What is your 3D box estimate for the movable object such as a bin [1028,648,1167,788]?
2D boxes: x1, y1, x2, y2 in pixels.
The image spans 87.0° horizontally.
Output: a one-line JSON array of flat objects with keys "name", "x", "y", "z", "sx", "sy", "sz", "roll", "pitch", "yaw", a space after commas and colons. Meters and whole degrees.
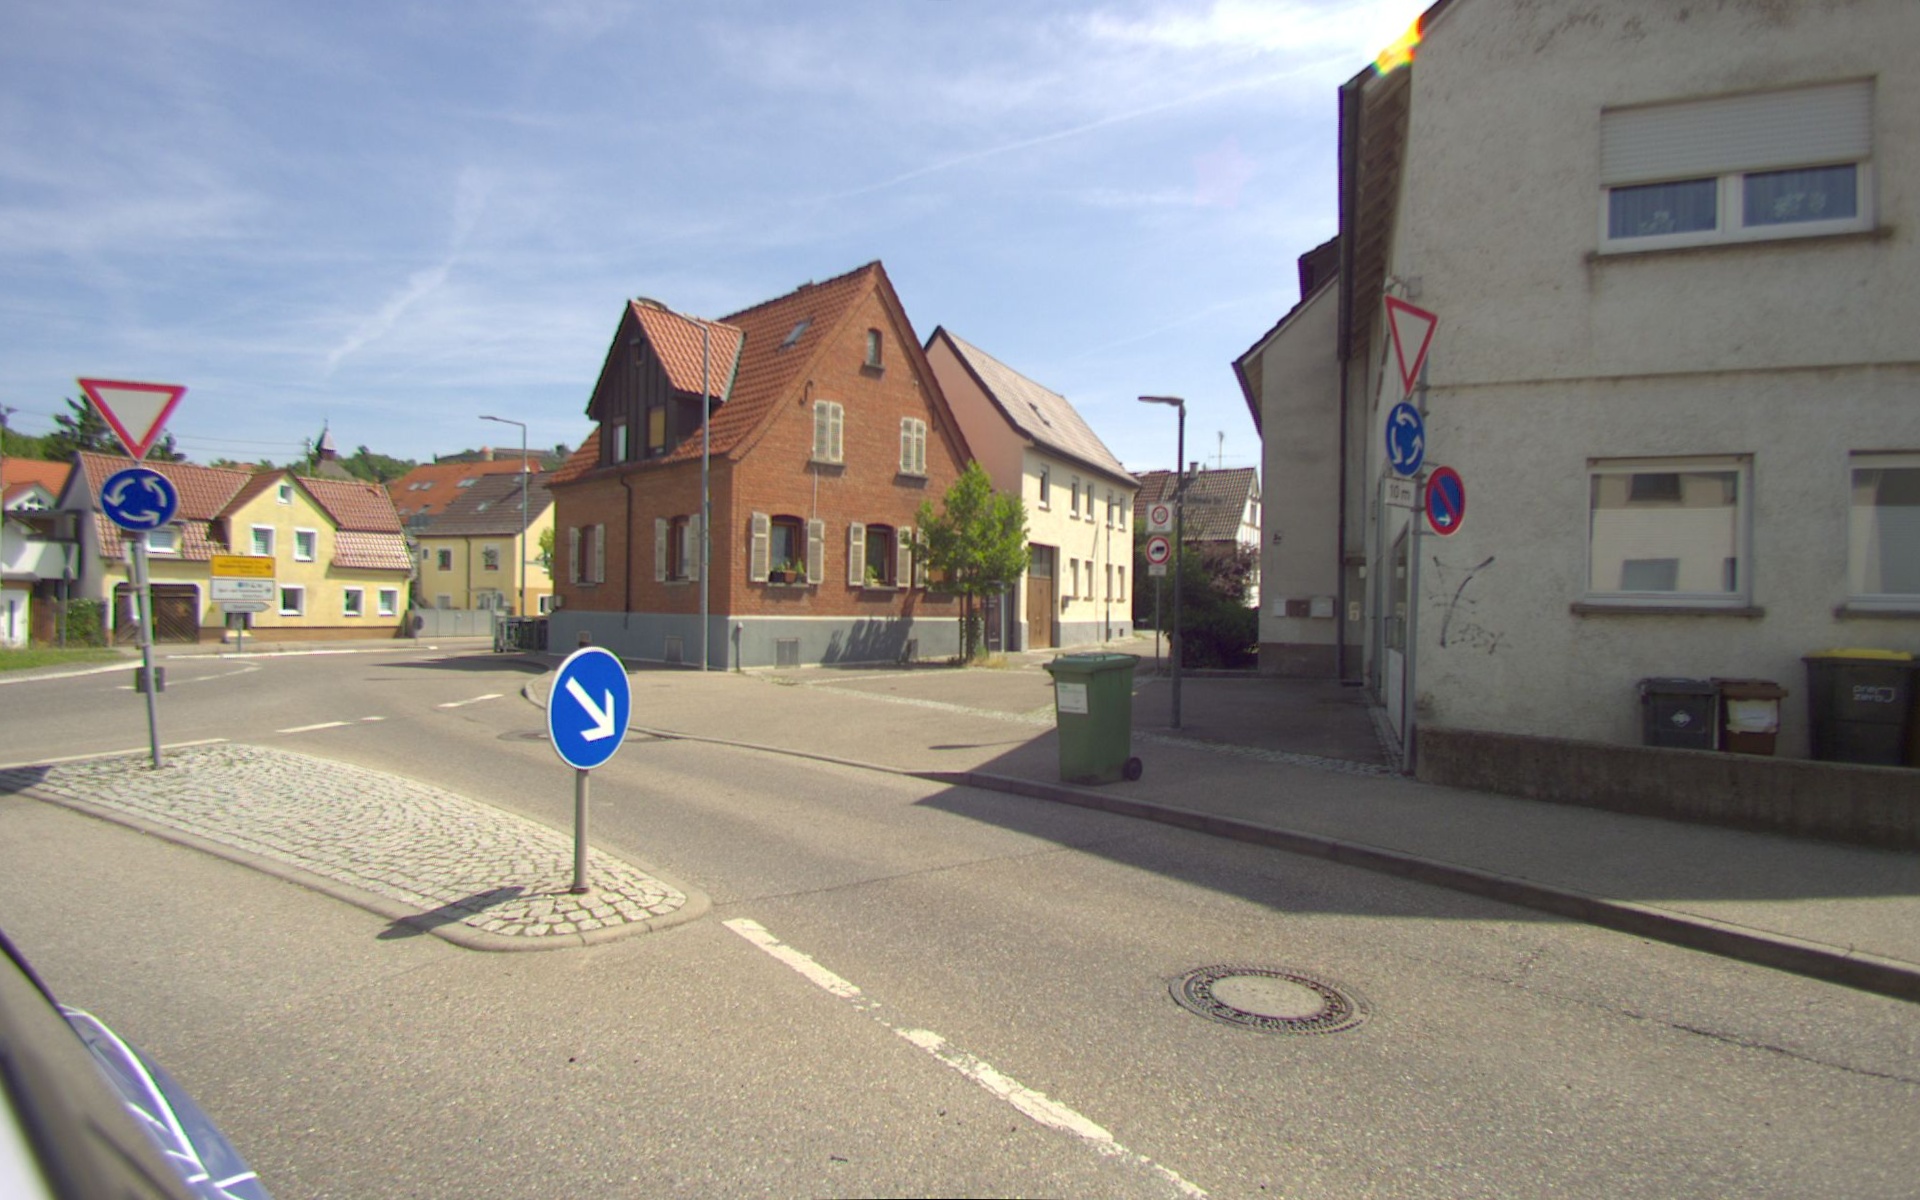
[{"name": "movable object such as a bin", "x": 1.139, "y": 0.944, "z": 8.452, "sx": 0.797, "sy": 1.053, "sz": 0.829, "roll": 0, "pitch": -1, "yaw": -34}]

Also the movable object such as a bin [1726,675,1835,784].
[{"name": "movable object such as a bin", "x": 6.466, "y": 1.008, "z": 7.996, "sx": 0.523, "sy": 0.786, "sz": 0.483, "roll": -1, "pitch": -1, "yaw": 19}]

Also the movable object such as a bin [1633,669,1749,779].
[{"name": "movable object such as a bin", "x": 5.913, "y": 0.986, "z": 8.211, "sx": 0.642, "sy": 0.811, "sz": 0.483, "roll": -1, "pitch": -1, "yaw": 21}]

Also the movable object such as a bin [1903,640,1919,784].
[{"name": "movable object such as a bin", "x": 7.604, "y": 0.851, "z": 7.480, "sx": 0.693, "sy": 1.094, "sz": 0.681, "roll": -1, "pitch": -1, "yaw": 19}]

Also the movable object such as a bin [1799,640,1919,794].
[{"name": "movable object such as a bin", "x": 6.961, "y": 0.866, "z": 7.718, "sx": 0.640, "sy": 1.094, "sz": 0.681, "roll": -1, "pitch": -1, "yaw": 19}]
